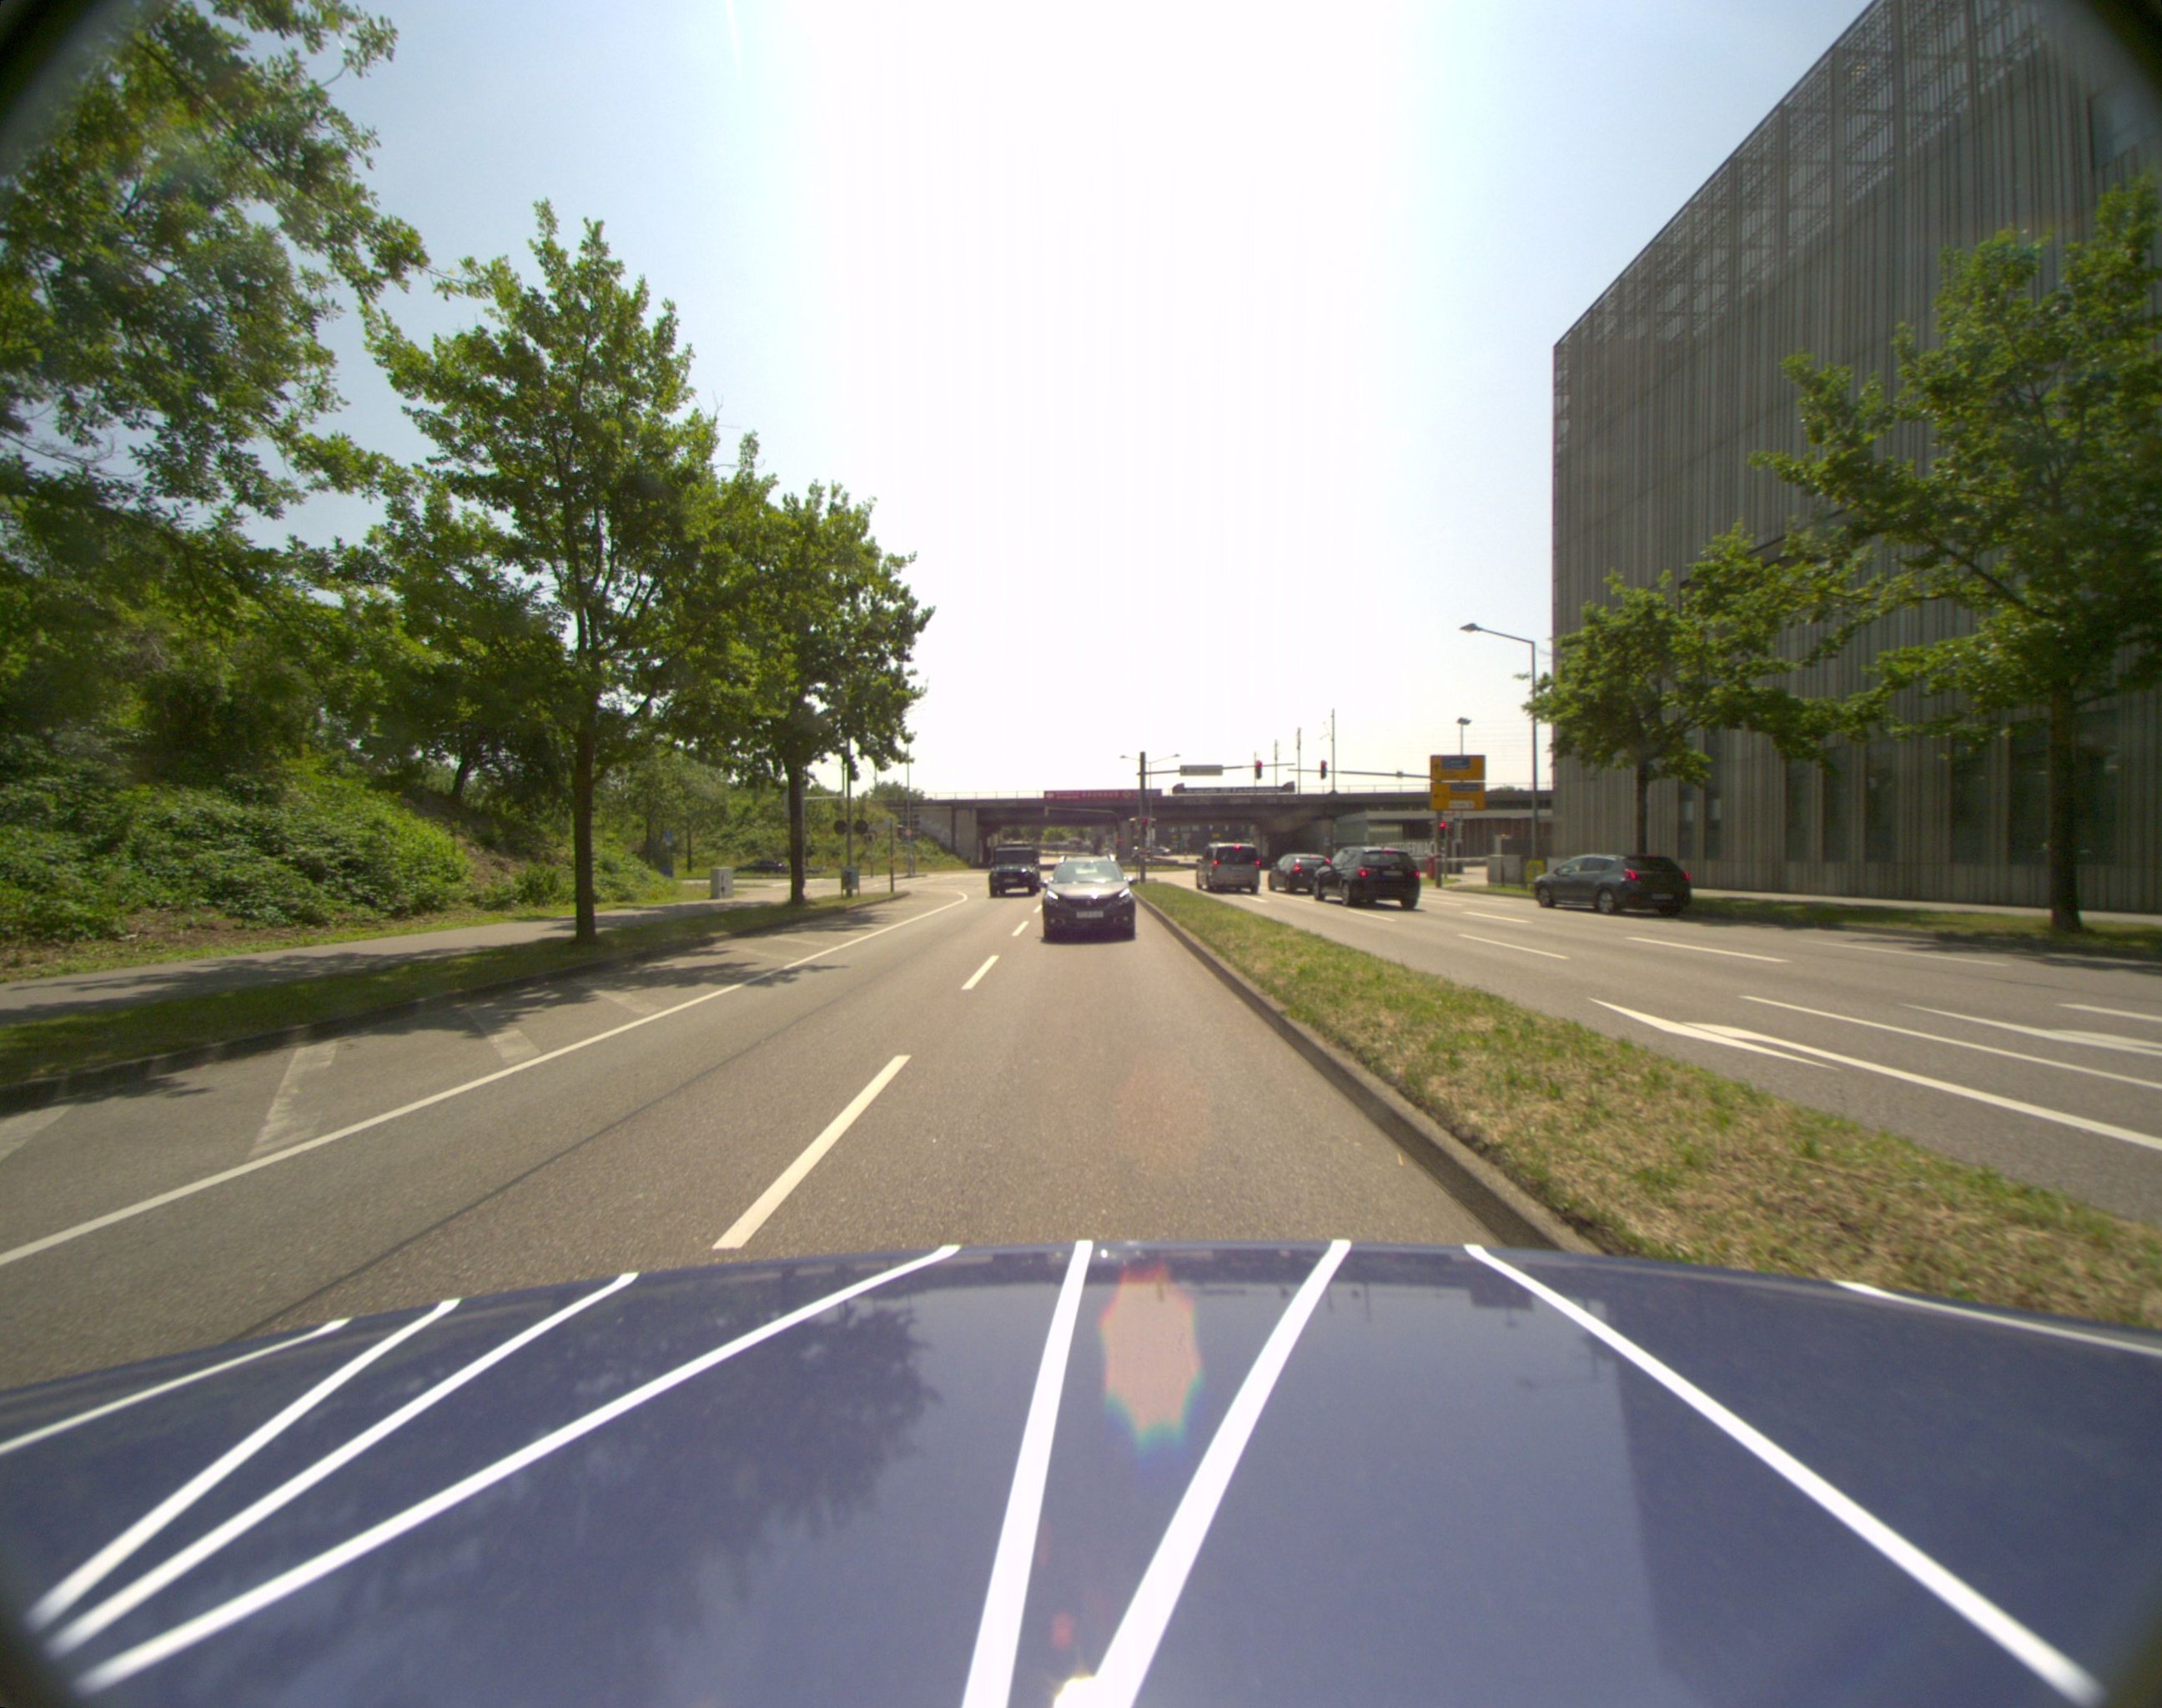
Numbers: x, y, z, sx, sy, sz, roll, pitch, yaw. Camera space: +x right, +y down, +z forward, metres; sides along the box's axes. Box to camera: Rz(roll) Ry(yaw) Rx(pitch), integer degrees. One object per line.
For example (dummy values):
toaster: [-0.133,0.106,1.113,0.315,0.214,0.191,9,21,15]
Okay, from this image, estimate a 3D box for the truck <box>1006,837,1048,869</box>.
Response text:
truck: [-5.133,-0.135,73.890,2.884,2.899,8.518,-2,0,3]

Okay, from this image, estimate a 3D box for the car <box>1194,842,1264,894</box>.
car: [5.526,0.494,28.895,1.814,1.790,4.714,1,0,1]

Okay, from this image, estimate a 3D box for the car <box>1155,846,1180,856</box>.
car: [15.164,-0.501,132.752,3.991,1.674,2.003,-1,1,18]

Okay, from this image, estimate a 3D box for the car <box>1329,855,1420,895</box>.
car: [11.274,0.763,29.472,1.815,1.409,4.249,0,0,-1]

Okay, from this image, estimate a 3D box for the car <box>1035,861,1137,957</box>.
car: [0.207,0.901,14.395,1.619,1.503,4.459,-1,0,3]

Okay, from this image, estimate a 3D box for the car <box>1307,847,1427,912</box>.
car: [8.065,0.643,21.900,1.807,1.653,4.572,0,0,1]

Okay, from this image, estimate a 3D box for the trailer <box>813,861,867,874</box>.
trailer: [-19.074,1.042,60.271,3.832,0.936,1.681,-1,0,-5]

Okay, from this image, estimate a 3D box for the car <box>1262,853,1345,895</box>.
car: [8.259,0.680,28.645,1.815,1.437,4.249,0,0,-1]

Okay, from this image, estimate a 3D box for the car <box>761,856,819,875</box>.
car: [-22.924,0.885,59.883,3.902,1.382,1.809,-1,0,-5]

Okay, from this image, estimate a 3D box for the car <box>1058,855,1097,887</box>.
car: [-0.214,0.833,38.127,1.817,1.456,3.999,-1,1,-1]

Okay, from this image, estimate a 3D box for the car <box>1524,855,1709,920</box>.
car: [14.177,0.816,20.485,1.815,1.534,4.369,1,0,-1]

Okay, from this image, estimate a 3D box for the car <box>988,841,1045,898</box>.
car: [-2.557,0.561,31.037,1.841,2.141,4.557,-1,1,0]
